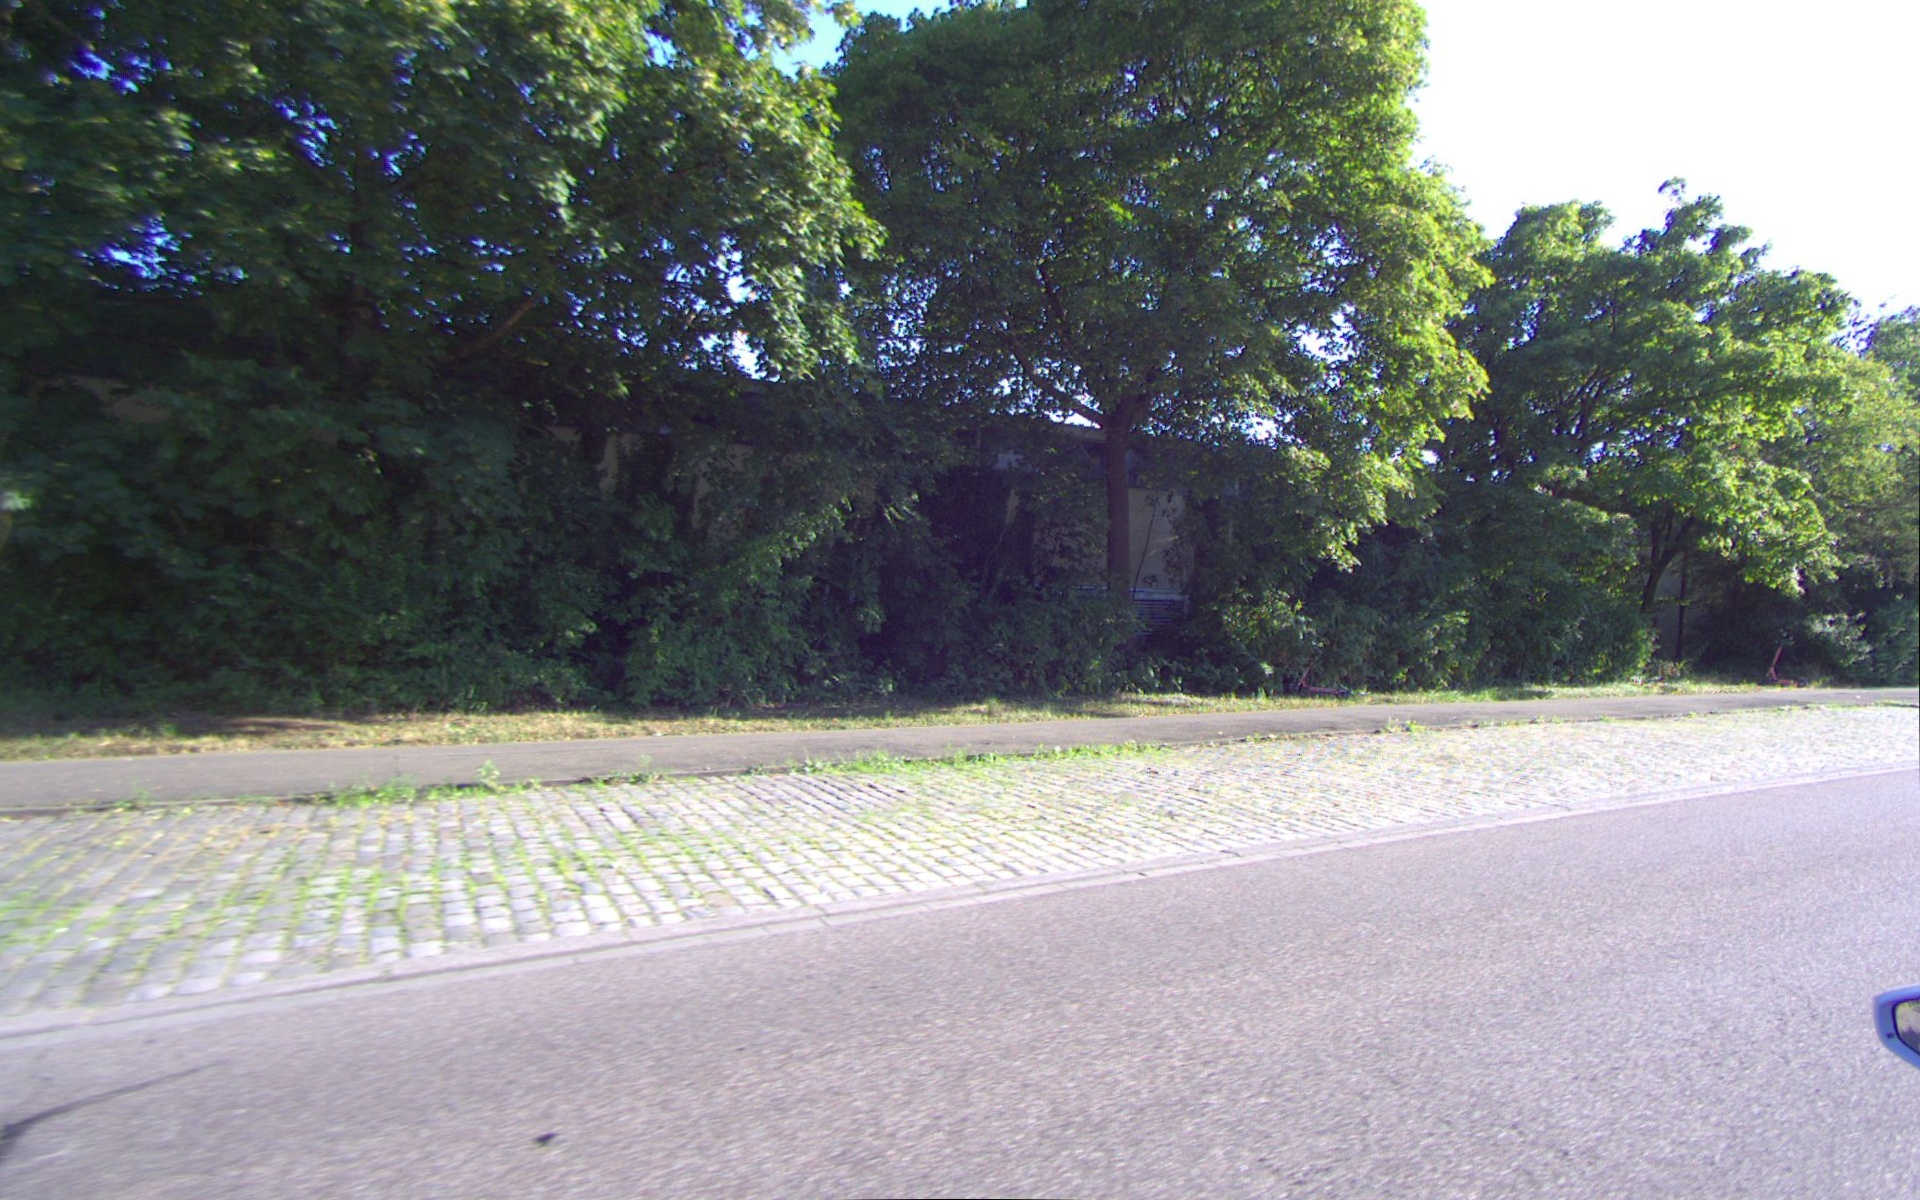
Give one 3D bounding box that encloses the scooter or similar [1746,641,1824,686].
[{"bbox_3d":[22.515,1.725,27.424,1.552,1.160,0.578,1,-1,10],"label":"scooter or similar"}]
